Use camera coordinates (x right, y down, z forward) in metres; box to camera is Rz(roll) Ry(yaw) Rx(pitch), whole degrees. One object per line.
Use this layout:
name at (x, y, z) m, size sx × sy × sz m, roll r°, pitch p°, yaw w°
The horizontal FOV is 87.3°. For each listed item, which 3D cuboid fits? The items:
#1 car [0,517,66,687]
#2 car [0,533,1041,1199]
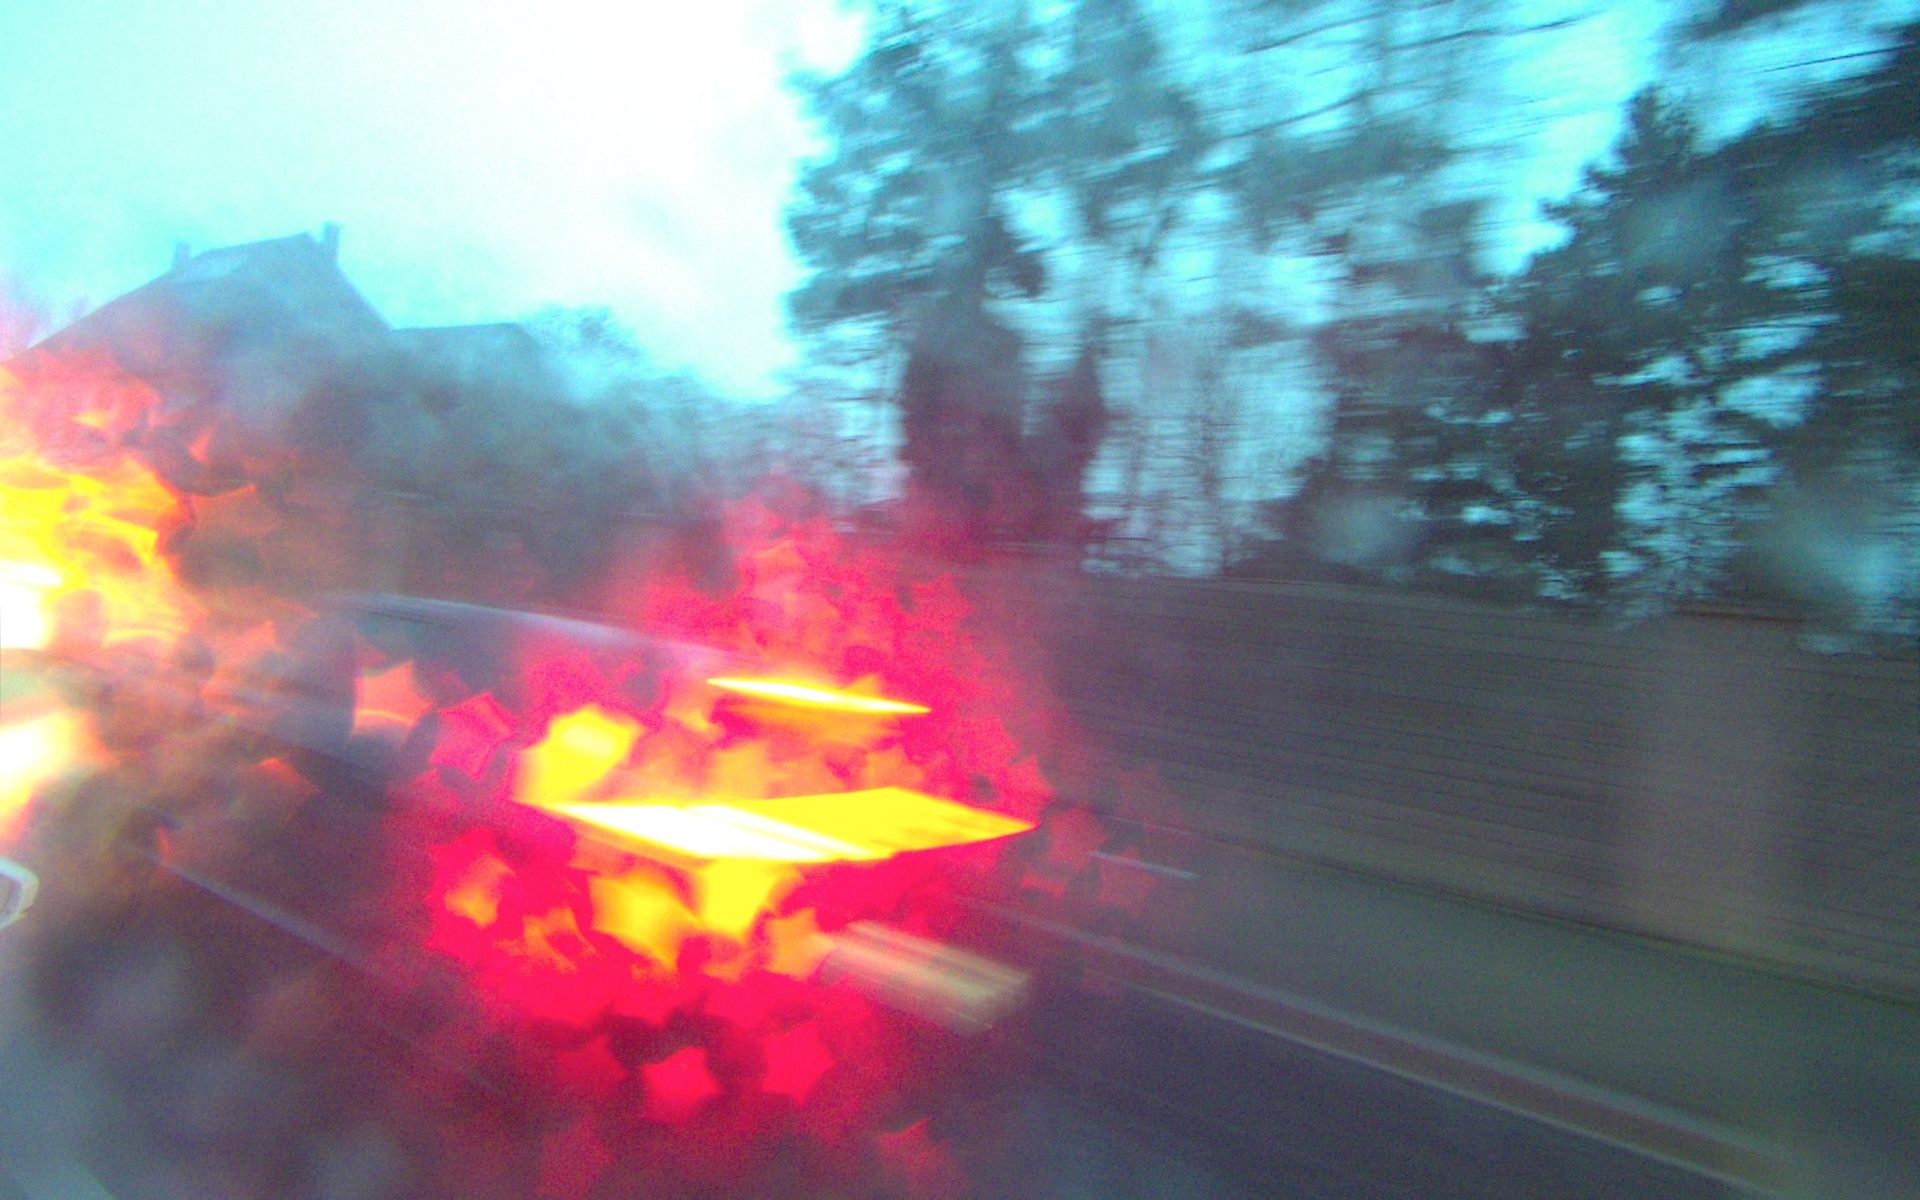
car at (-9.799, -0.232, 8.840) m, size 4.201 × 1.351 × 1.657 m, roll 7°, pitch -2°, yaw 32°
car at (-2.179, 0.668, 4.299) m, size 4.690 × 1.382 × 1.644 m, roll 6°, pitch -2°, yaw 32°
